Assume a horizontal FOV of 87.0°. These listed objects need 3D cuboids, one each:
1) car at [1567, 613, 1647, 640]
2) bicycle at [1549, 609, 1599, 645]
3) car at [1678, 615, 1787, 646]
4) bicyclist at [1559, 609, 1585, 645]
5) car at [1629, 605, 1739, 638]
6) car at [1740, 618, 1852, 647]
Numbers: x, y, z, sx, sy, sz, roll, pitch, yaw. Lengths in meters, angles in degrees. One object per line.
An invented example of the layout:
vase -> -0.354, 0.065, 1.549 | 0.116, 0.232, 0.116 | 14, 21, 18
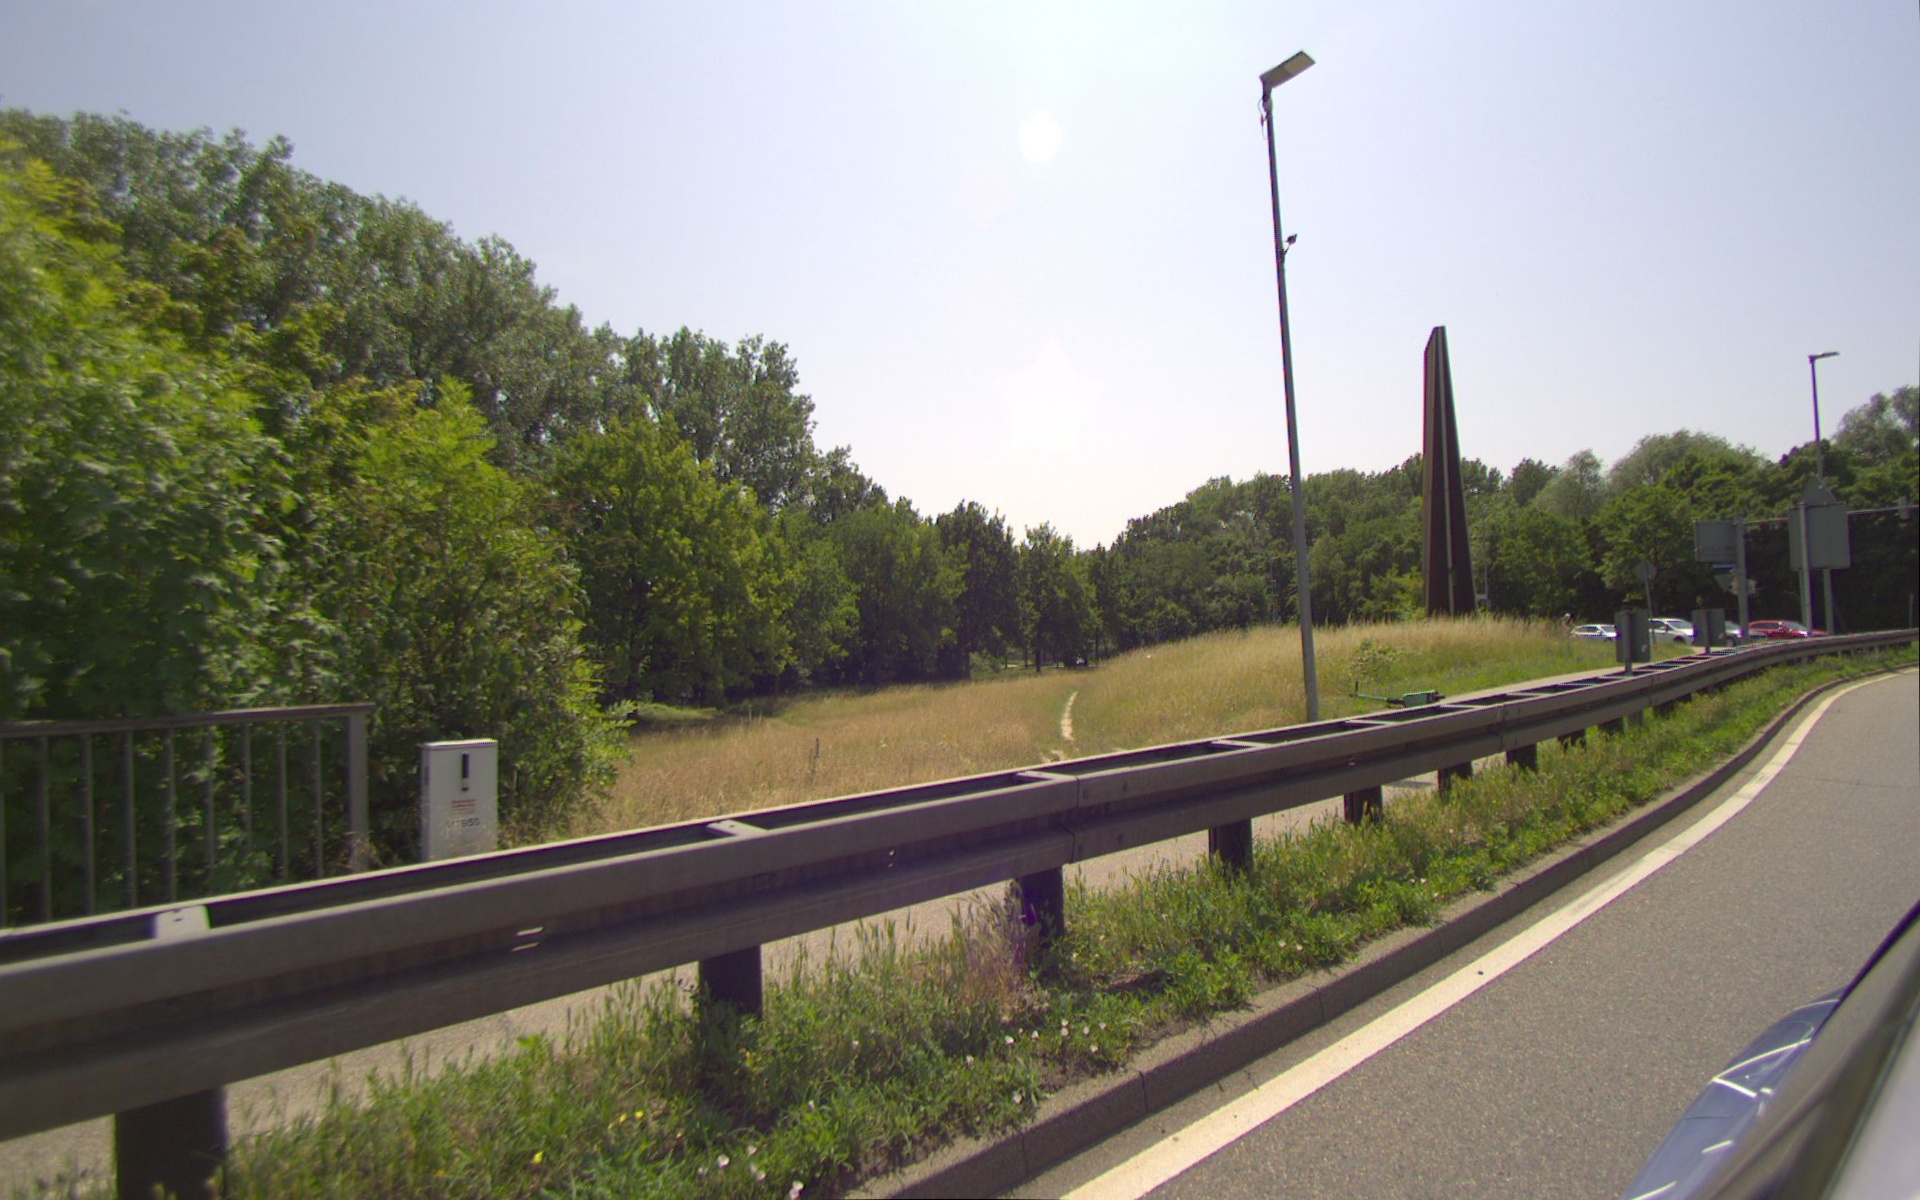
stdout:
car -> 36.975, 1.538, 57.949 | 1.550, 1.449, 4.004 | -1, -2, -8
bicycle -> 28.011, 1.243, 46.228 | 0.643, 1.594, 2.375 | -1, -2, -3
car -> 38.441, 1.528, 50.504 | 1.830, 1.442, 4.190 | -1, -2, -7
bicyclist -> 28.007, 1.222, 46.330 | 0.657, 1.620, 0.691 | -1, -2, -3
car -> 35.000, 1.050, 49.066 | 1.830, 1.526, 4.301 | -1, -2, -7
car -> 41.777, 1.632, 50.705 | 1.719, 1.372, 4.190 | -1, -2, -7
